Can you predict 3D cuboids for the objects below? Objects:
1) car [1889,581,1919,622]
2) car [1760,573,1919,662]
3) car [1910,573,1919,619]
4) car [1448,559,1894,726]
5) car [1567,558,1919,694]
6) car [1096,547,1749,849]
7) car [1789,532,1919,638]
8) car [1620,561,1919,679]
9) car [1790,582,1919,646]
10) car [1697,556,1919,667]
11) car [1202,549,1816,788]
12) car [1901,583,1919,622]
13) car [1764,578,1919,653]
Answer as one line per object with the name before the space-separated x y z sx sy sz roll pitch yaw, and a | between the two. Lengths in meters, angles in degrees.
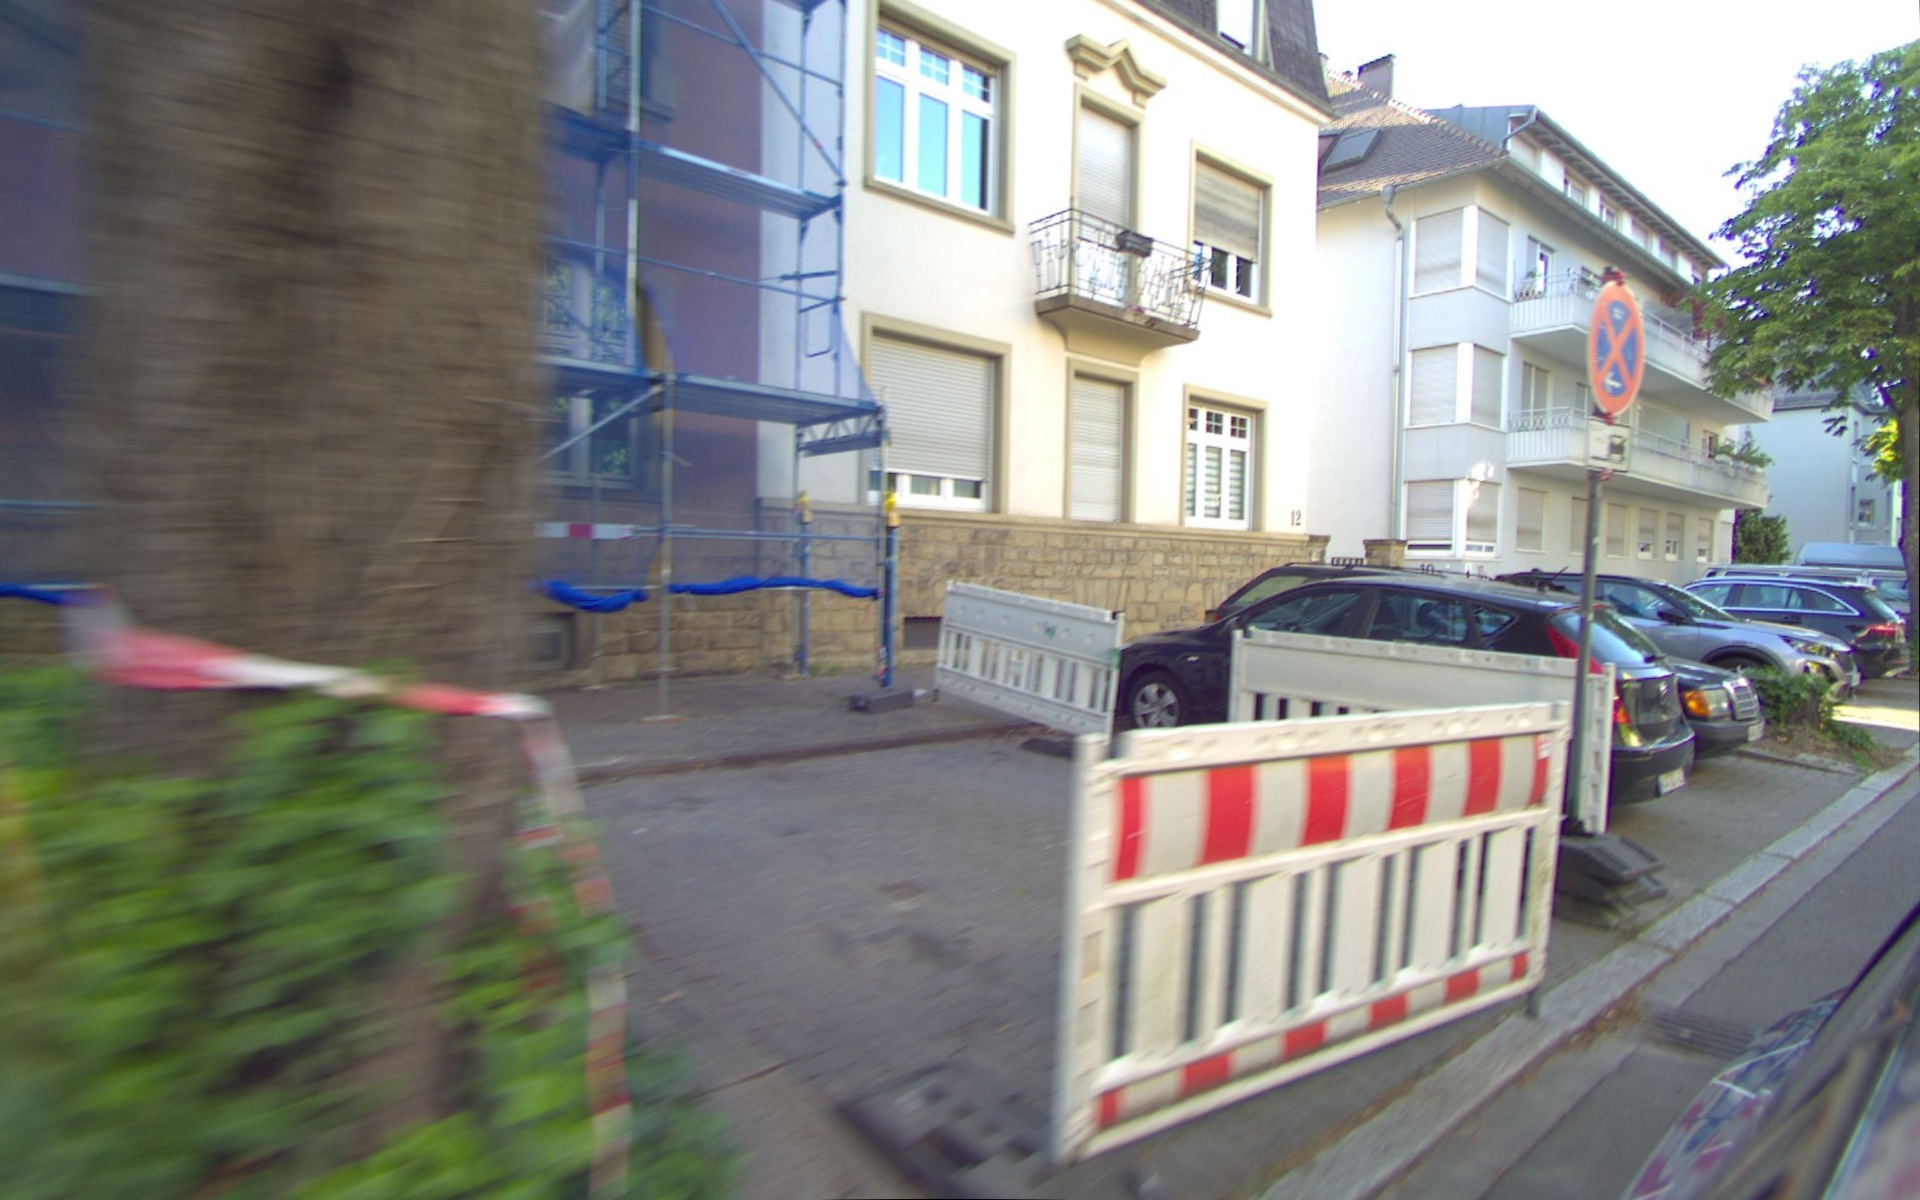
car | 39.432 0.129 39.653 1.729 1.559 4.308 0 3 -43
car | 19.813 0.360 21.575 4.175 1.744 1.739 3 3 43
car | 41.702 -0.080 41.162 1.729 1.907 4.308 -1 4 -43
car | 8.639 0.368 12.618 1.818 1.558 4.166 0 4 -40
car | 12.293 0.295 15.944 1.676 1.703 4.339 0 3 -42
car | 3.117 0.440 7.555 1.817 1.510 3.999 0 4 -38
car | 27.267 -0.430 28.983 2.041 2.937 5.104 0 3 -42
car | 14.212 0.258 17.810 1.674 1.703 3.963 1 3 -37
car | 23.448 0.340 25.439 1.728 1.448 3.728 -2 4 -41
car | 17.780 0.174 20.353 1.863 2.038 4.477 0 2 -41
car | 4.814 0.392 9.586 1.818 1.553 4.731 0 4 -40
car | 37.472 0.192 37.615 1.727 1.444 3.411 0 3 -40
car | 21.392 0.328 23.695 1.610 1.573 3.731 -1 3 -38
